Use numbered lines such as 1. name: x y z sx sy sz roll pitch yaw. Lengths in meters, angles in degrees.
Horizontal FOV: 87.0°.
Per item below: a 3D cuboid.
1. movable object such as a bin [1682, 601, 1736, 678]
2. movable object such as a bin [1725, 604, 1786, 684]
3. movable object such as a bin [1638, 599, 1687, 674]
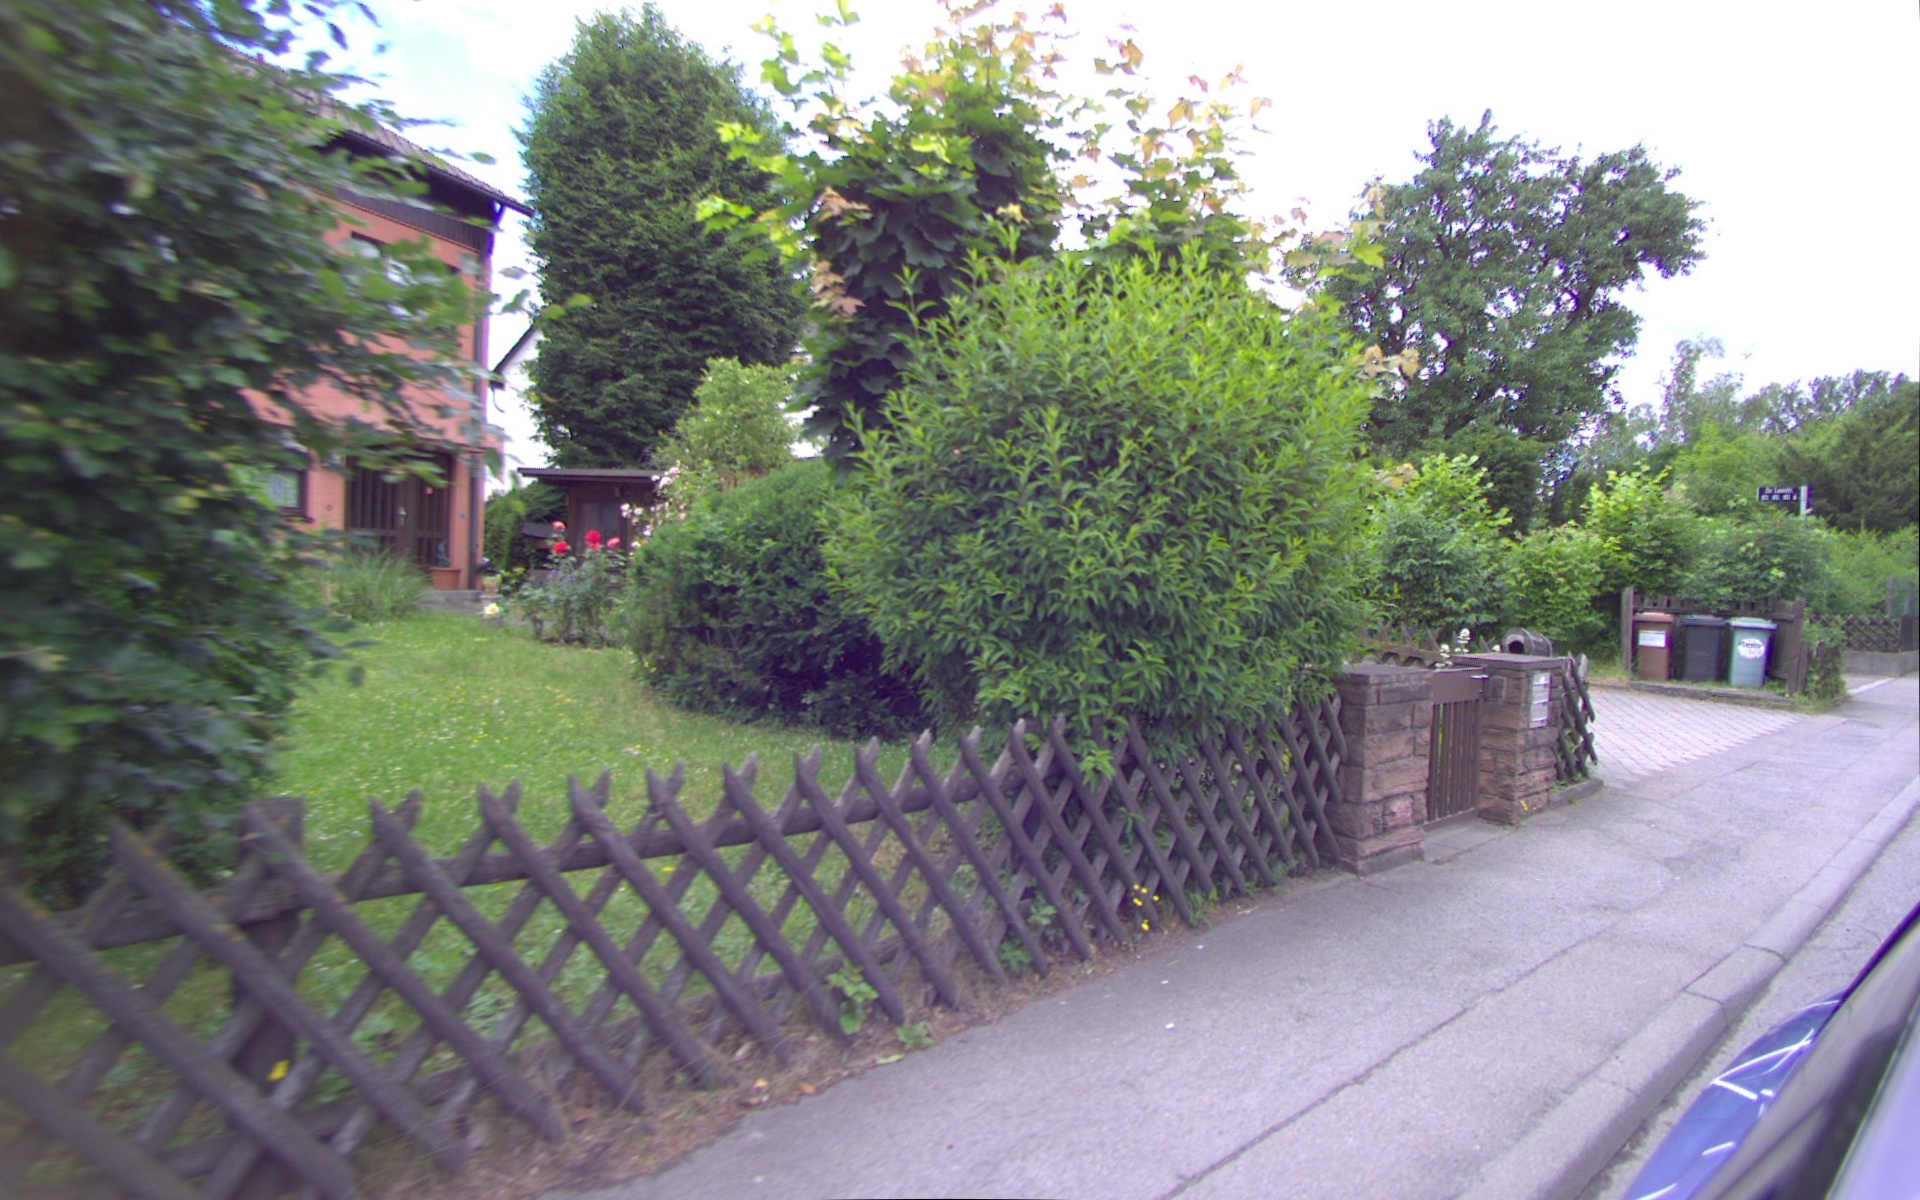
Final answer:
1. movable object such as a bin: 10.118 0.523 13.683 0.445 0.967 0.678 6 3 32
2. movable object such as a bin: 10.543 0.568 13.434 0.444 0.967 0.679 6 3 28
3. movable object such as a bin: 9.694 0.488 13.986 0.445 0.967 0.678 6 3 32
